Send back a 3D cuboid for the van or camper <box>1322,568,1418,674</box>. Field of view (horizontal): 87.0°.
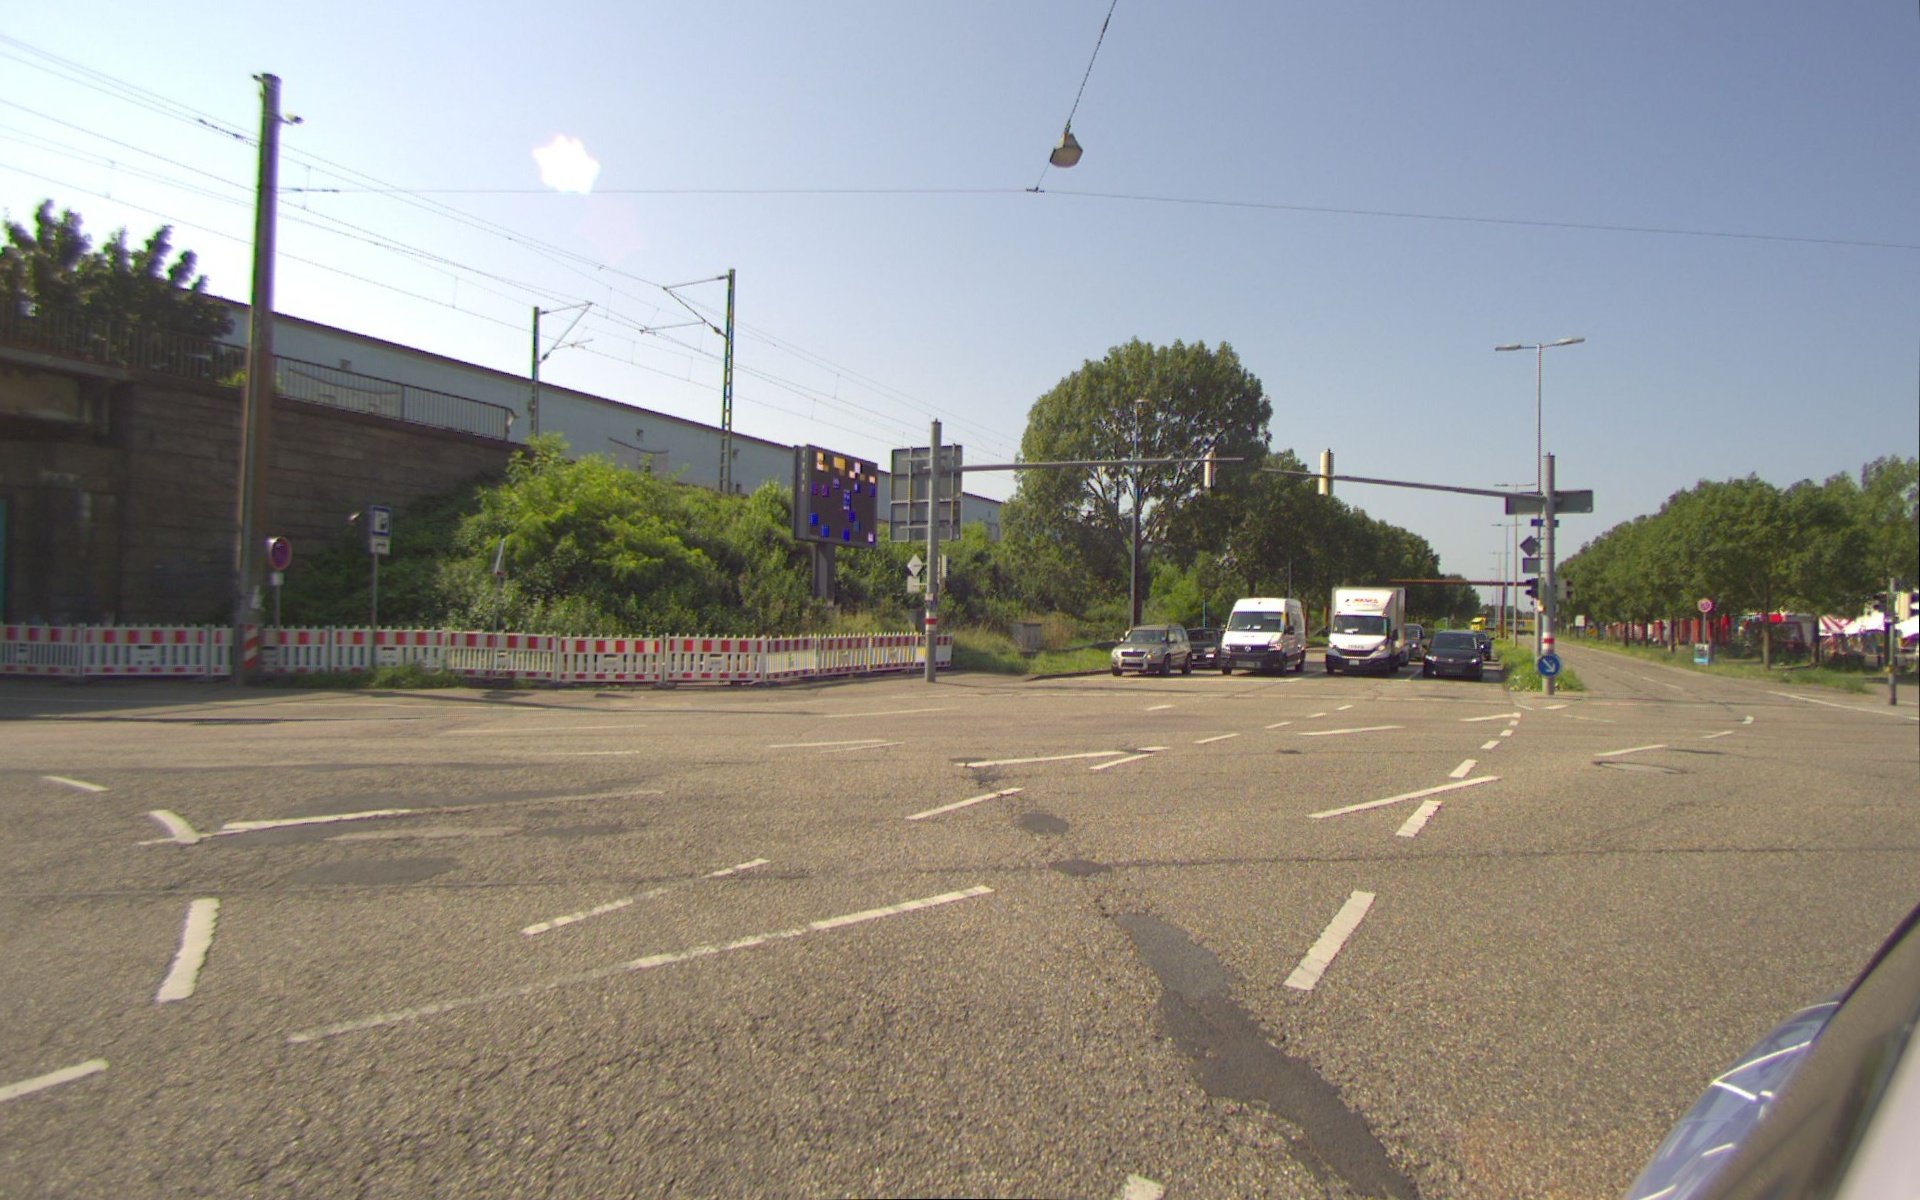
[{"bbox_3d":[14.644,0.891,35.891,2.230,3.407,6.775,-1,-4,30],"label":"van or camper"}]

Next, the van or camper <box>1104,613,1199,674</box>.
[{"bbox_3d":[6.185,1.423,32.316,1.835,1.800,4.130,-1,-4,28],"label":"van or camper"}]

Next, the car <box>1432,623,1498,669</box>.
[{"bbox_3d":[20.928,1.947,41.827,2.127,1.763,5.165,-1,-4,30],"label":"car"}]

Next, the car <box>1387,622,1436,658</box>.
[{"bbox_3d":[22.019,1.974,49.280,1.644,1.686,3.709,-2,-4,33],"label":"car"}]

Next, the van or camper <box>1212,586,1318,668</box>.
[{"bbox_3d":[10.608,1.053,34.753,2.228,2.516,6.795,-1,-4,28],"label":"van or camper"}]

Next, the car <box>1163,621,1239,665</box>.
[{"bbox_3d":[9.116,1.576,38.055,1.980,1.572,3.963,-1,-2,26],"label":"car"}]

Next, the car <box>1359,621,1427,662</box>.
[{"bbox_3d":[18.714,1.838,43.612,2.148,1.630,4.920,-1,-4,30],"label":"car"}]

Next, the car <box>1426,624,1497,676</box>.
[{"bbox_3d":[17.470,1.771,35.110,1.890,1.634,5.138,-1,-4,30],"label":"car"}]
